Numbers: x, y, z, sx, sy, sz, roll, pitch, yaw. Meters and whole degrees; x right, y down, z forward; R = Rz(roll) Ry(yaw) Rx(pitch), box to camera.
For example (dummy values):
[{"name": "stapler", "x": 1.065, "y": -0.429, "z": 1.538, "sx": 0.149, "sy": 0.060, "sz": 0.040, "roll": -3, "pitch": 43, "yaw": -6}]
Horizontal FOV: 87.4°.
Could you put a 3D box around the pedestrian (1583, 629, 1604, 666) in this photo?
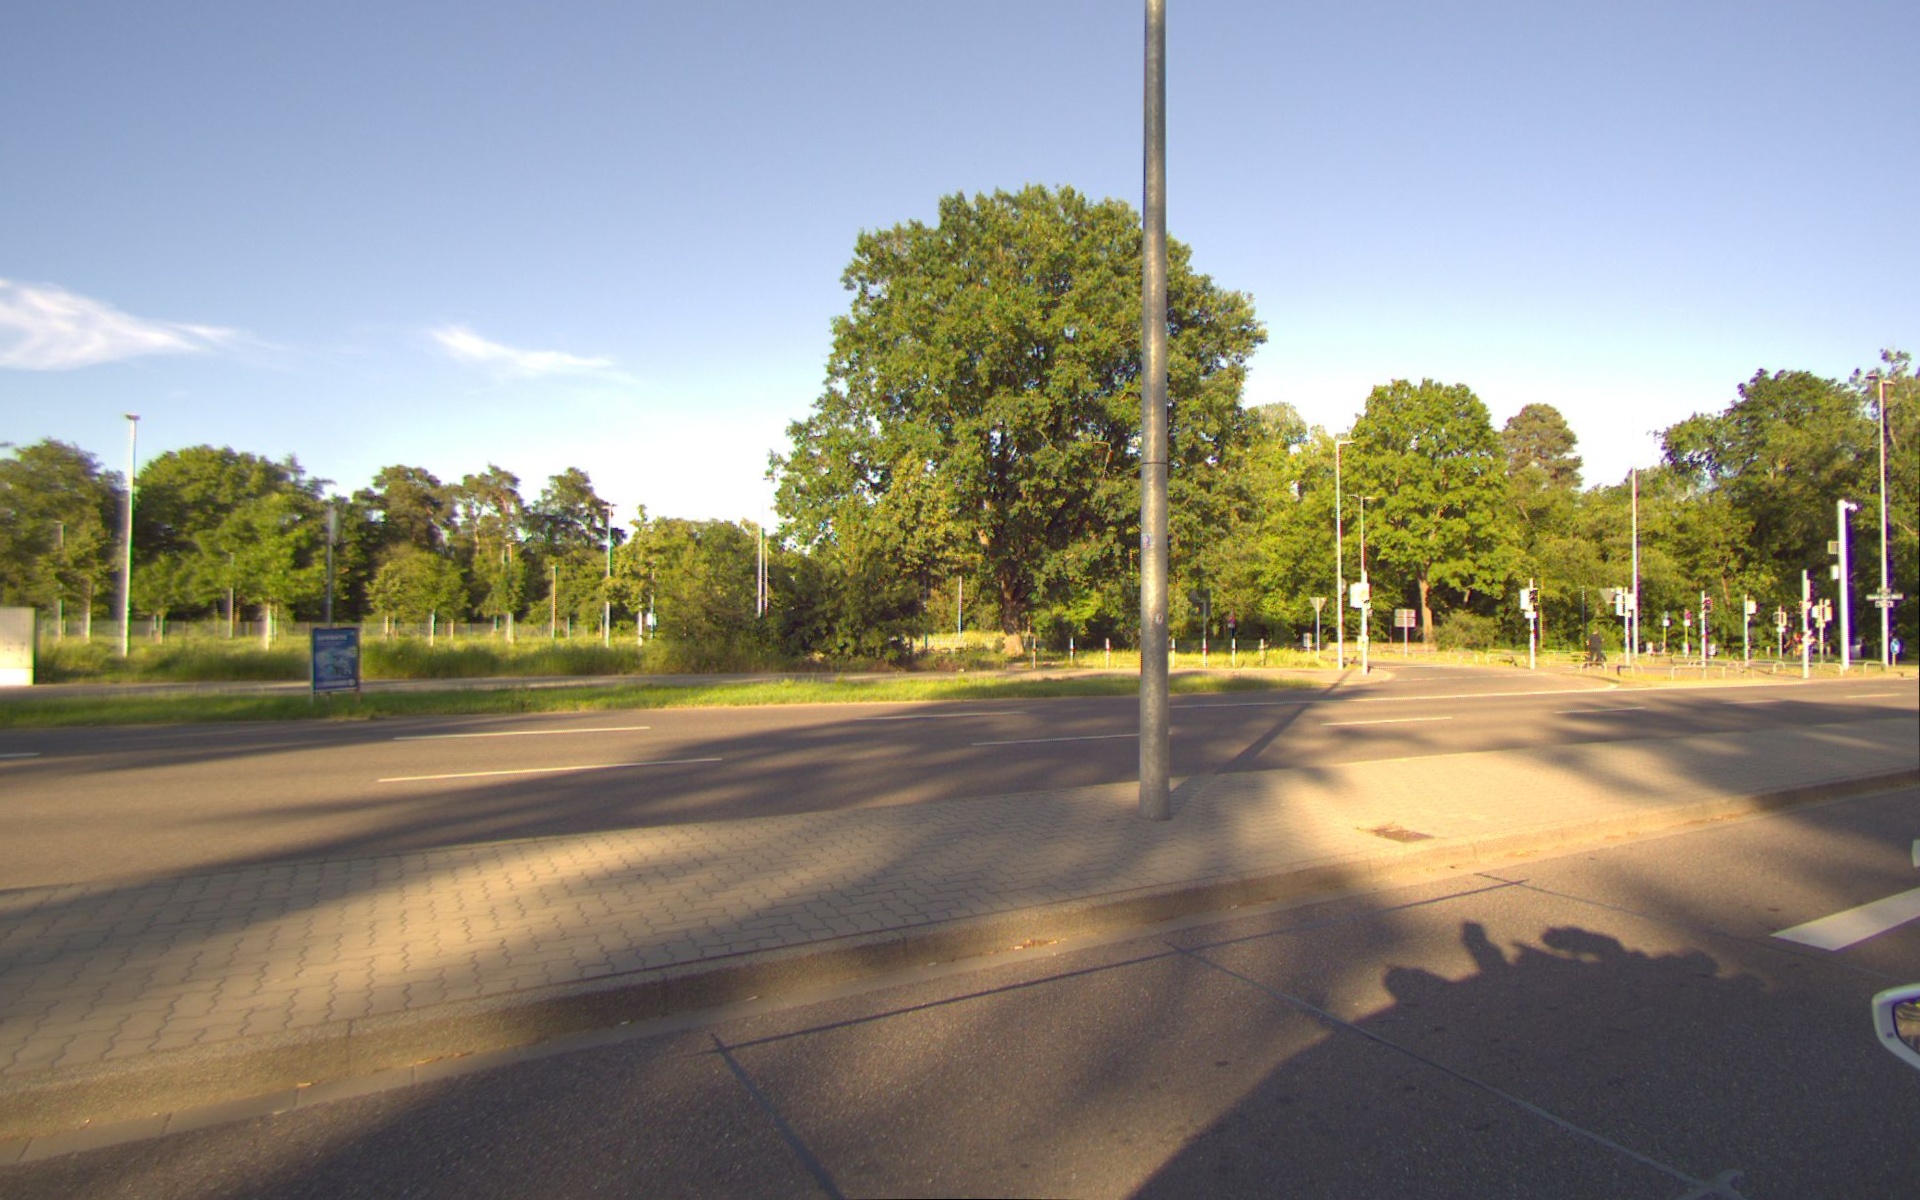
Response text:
[{"name": "pedestrian", "x": 27.493, "y": 2.052, "z": 43.602, "sx": 0.636, "sy": 1.580, "sz": 0.539, "roll": 0, "pitch": -2, "yaw": 18}]
